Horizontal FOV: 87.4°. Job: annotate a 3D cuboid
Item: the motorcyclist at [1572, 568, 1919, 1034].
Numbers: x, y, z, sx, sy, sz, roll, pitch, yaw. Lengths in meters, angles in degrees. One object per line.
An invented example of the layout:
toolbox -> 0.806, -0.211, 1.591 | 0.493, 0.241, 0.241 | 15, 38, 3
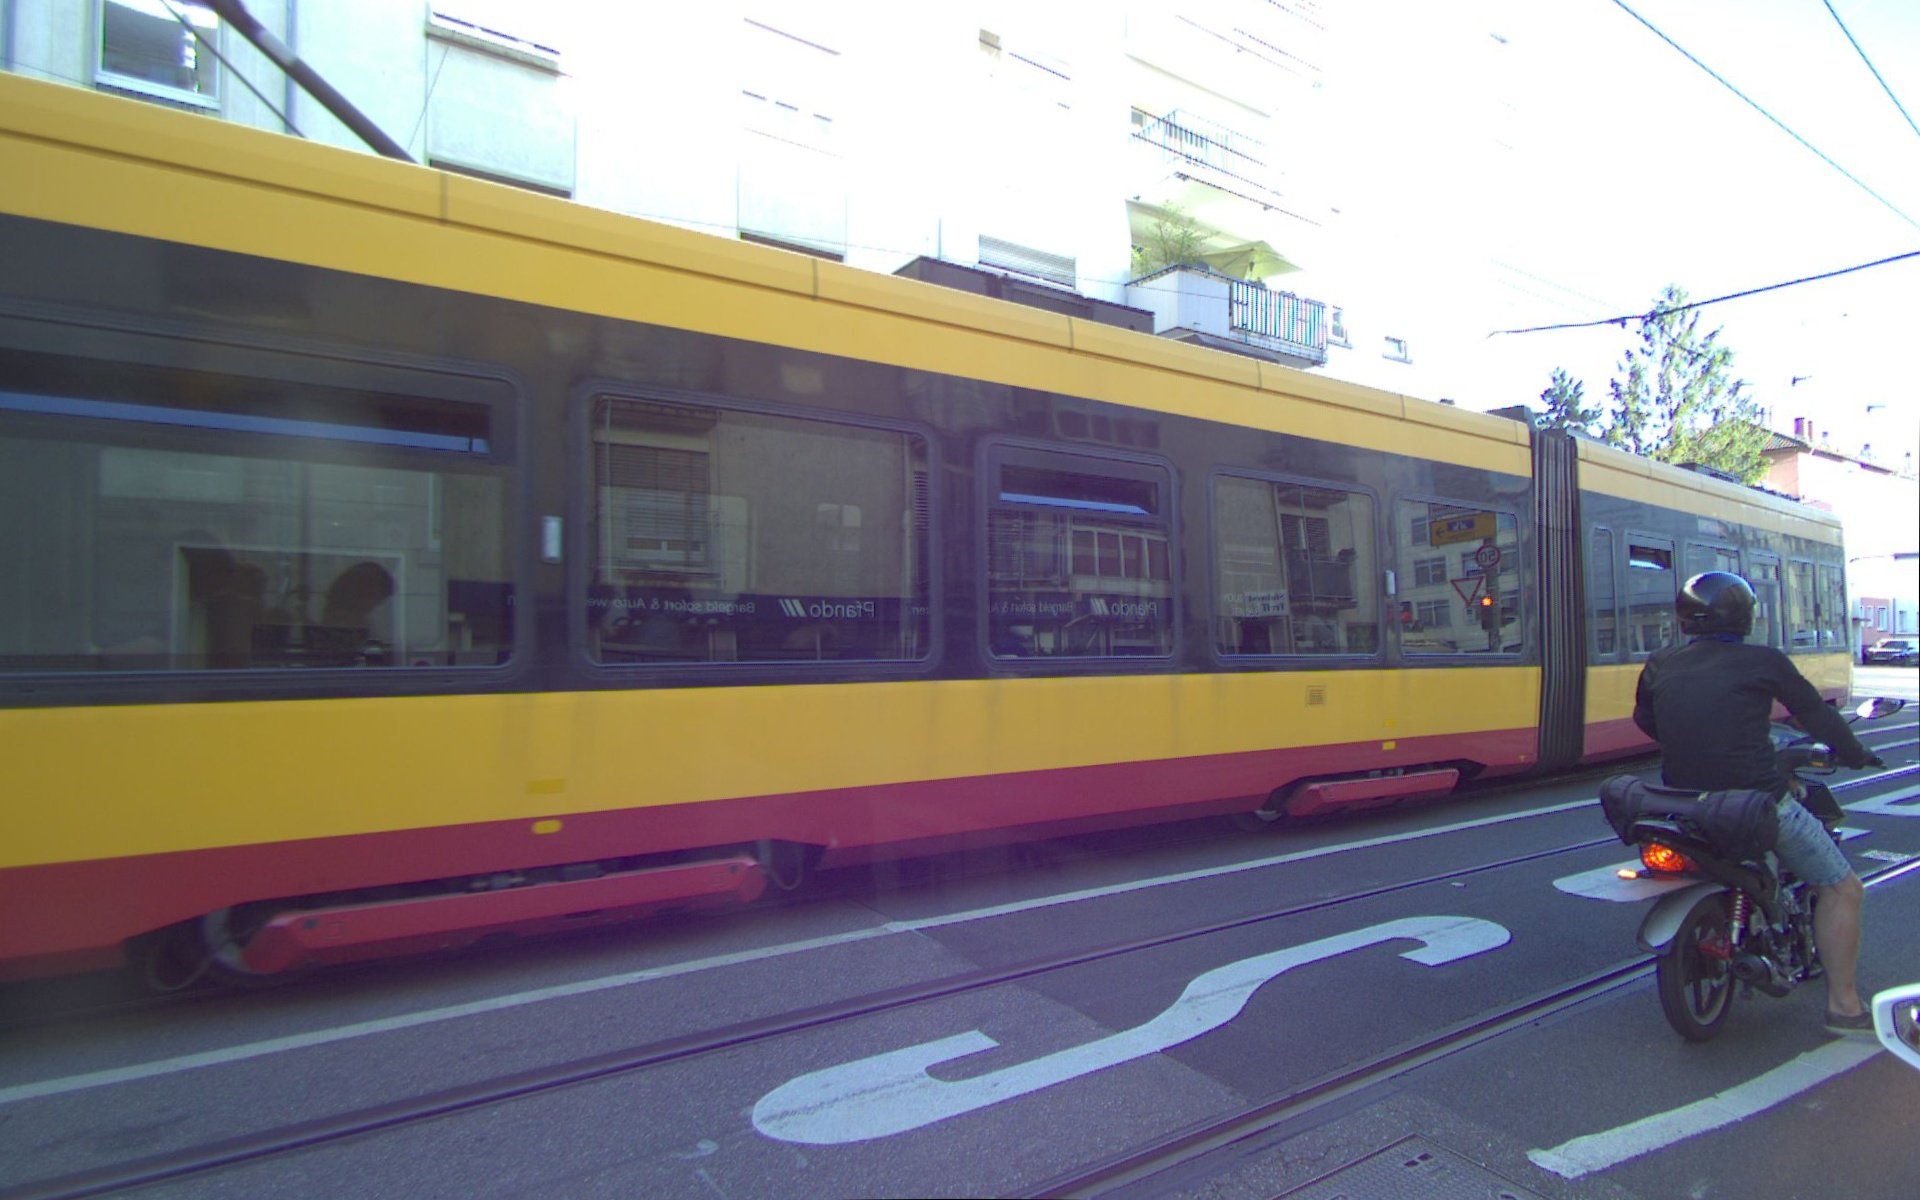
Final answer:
motorcyclist -> 2.943, 0.660, 3.809 | 0.591, 1.525, 0.856 | 2, 0, -30

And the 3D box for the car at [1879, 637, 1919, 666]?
car -> 53.536, 2.894, 56.305 | 4.250, 1.518, 1.806 | 2, 0, -30

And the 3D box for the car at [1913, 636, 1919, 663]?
car -> 58.258, 2.963, 59.378 | 4.103, 1.531, 1.778 | 2, 0, -31

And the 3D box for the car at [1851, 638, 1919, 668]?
car -> 49.557, 2.830, 53.665 | 3.949, 1.440, 1.784 | 2, 0, -31

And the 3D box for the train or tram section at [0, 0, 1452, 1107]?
train or tram section -> -0.730, -0.183, 6.367 | 8.991, 3.679, 2.807 | 2, 0, -34

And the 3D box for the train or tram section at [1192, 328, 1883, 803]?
train or tram section -> 8.729, -0.098, 13.228 | 14.137, 3.680, 2.724 | 2, 0, -38

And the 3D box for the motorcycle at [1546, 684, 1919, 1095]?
motorcycle -> 3.125, 0.980, 3.923 | 1.958, 1.235, 0.534 | 2, 0, -31
